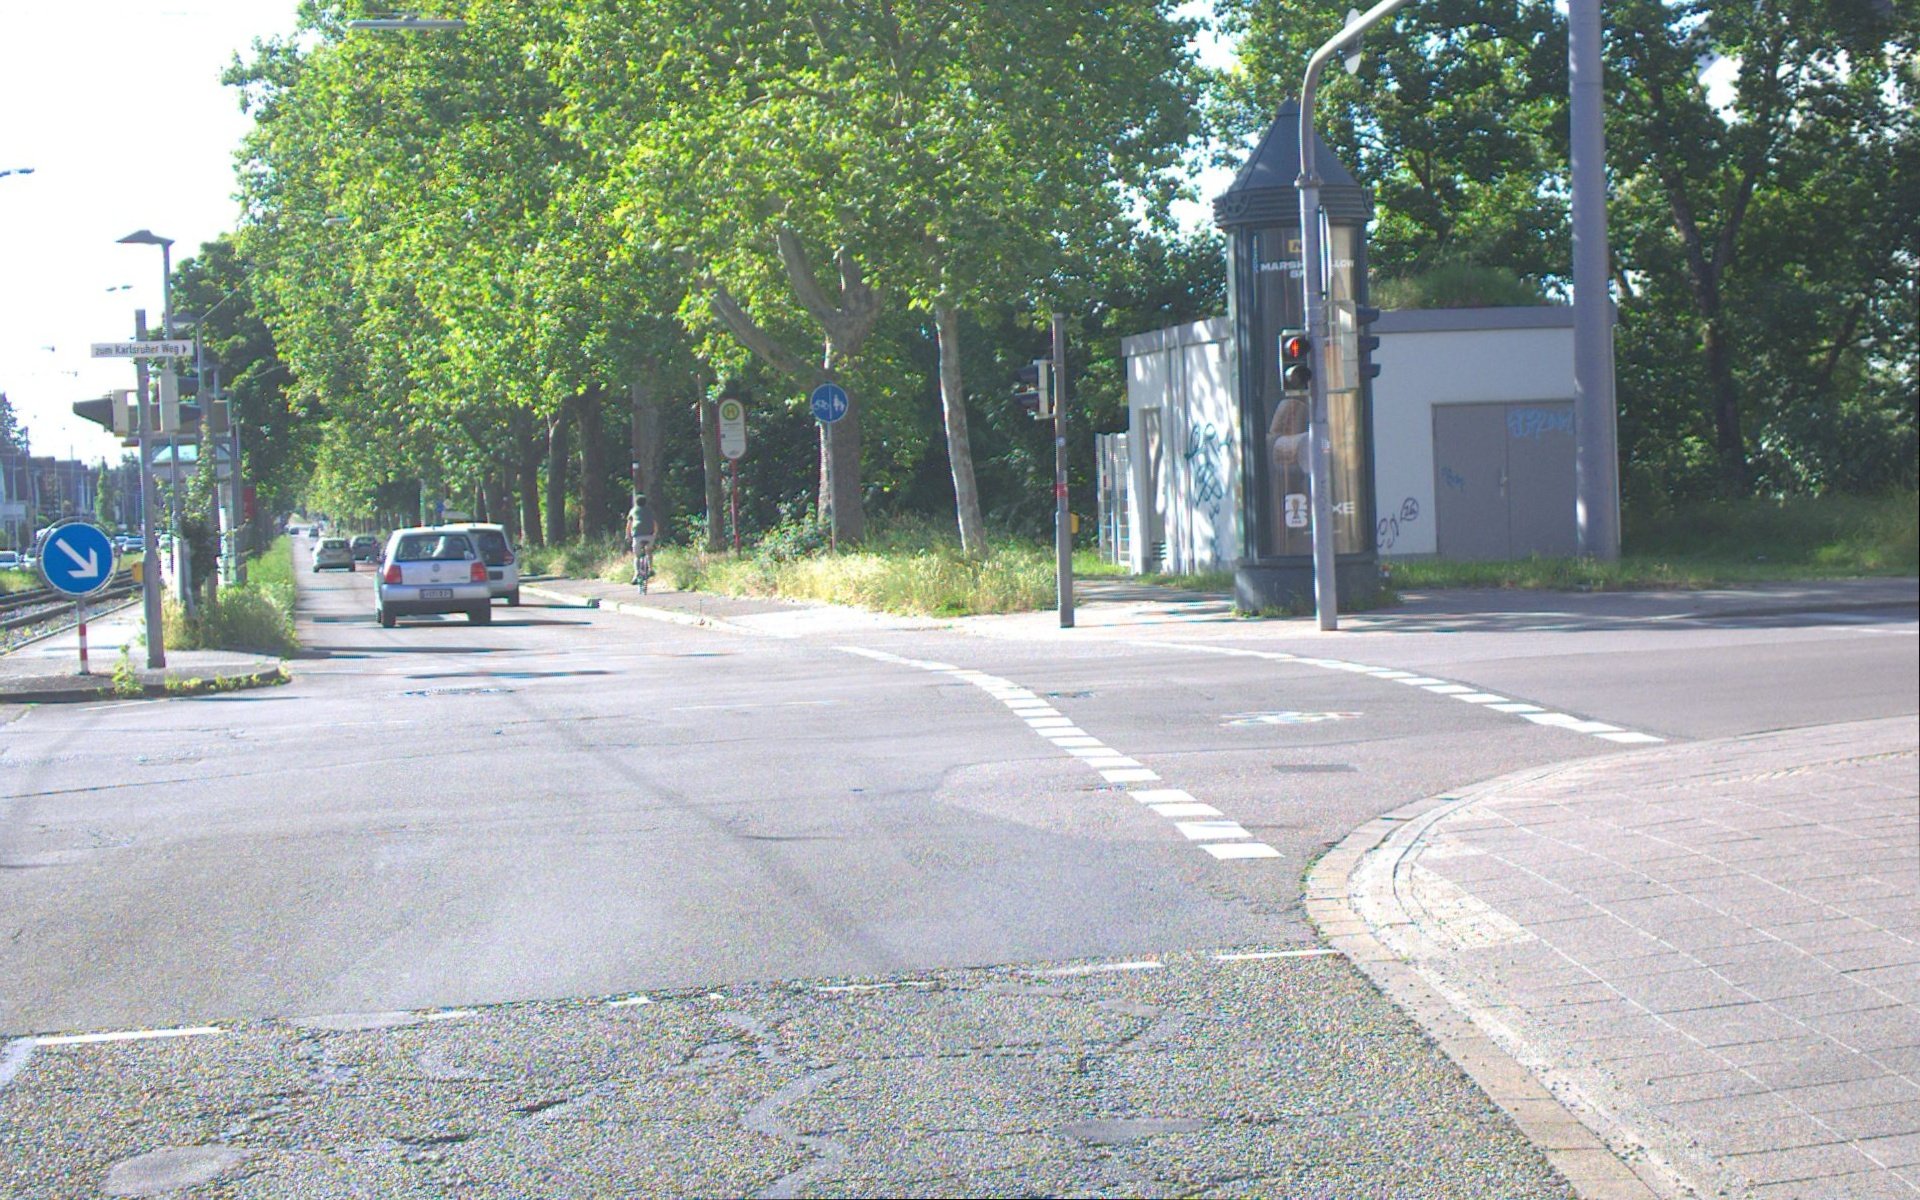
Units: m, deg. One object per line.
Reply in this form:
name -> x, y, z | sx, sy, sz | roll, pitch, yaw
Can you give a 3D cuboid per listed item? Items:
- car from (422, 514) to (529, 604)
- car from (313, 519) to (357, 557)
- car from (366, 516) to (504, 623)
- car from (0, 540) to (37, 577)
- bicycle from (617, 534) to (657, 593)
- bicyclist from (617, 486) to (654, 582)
car -> -9.159, -0.798, 64.797 | 1.750, 1.599, 3.751 | 2, 1, -11
car -> -27.296, -2.708, 150.025 | 1.750, 1.599, 3.582 | -3, 2, -12
car -> -7.825, -0.471, 51.029 | 1.867, 1.481, 3.556 | -2, 1, -11
car -> -42.115, -1.834, 152.220 | 1.920, 1.561, 4.001 | -3, 2, -9
bicycle -> -6.023, -0.686, 64.064 | 0.536, 1.062, 1.434 | -3, 2, -13
bicyclist -> -6.055, -1.230, 64.090 | 0.534, 1.763, 0.713 | -3, 1, -13
